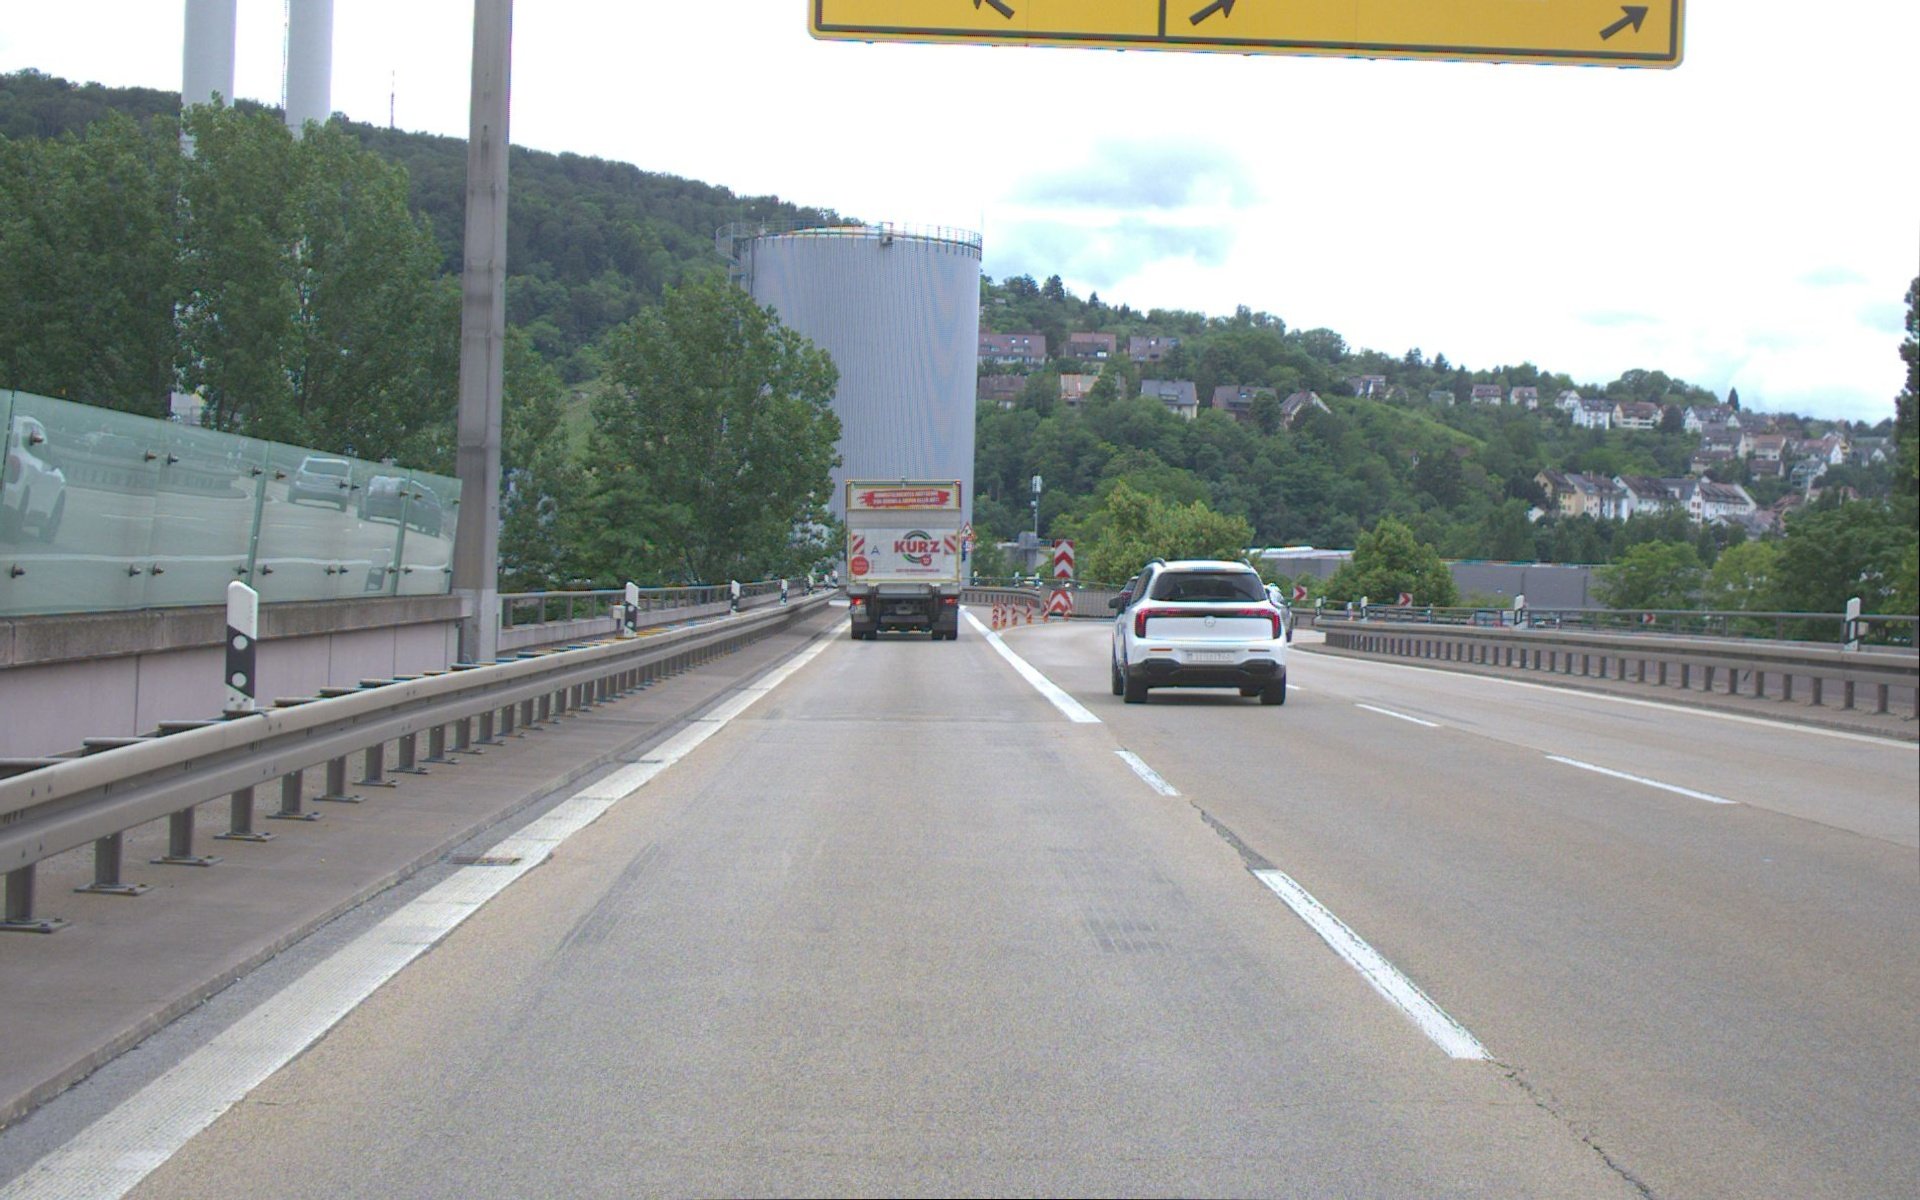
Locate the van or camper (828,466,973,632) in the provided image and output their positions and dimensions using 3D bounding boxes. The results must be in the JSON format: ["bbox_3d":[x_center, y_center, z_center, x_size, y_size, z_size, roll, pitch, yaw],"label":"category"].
[{"bbox_3d":[-1.279,-1.143,79.150,3.122,3.567,8.550,1,0,0],"label":"van or camper"}]

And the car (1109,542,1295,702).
[{"bbox_3d":[2.818,0.216,40.825,1.924,1.779,4.113,1,1,0],"label":"car"}]

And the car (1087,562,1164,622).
[{"bbox_3d":[5.180,-0.260,107.346,1.924,1.779,4.111,1,1,9],"label":"car"}]
